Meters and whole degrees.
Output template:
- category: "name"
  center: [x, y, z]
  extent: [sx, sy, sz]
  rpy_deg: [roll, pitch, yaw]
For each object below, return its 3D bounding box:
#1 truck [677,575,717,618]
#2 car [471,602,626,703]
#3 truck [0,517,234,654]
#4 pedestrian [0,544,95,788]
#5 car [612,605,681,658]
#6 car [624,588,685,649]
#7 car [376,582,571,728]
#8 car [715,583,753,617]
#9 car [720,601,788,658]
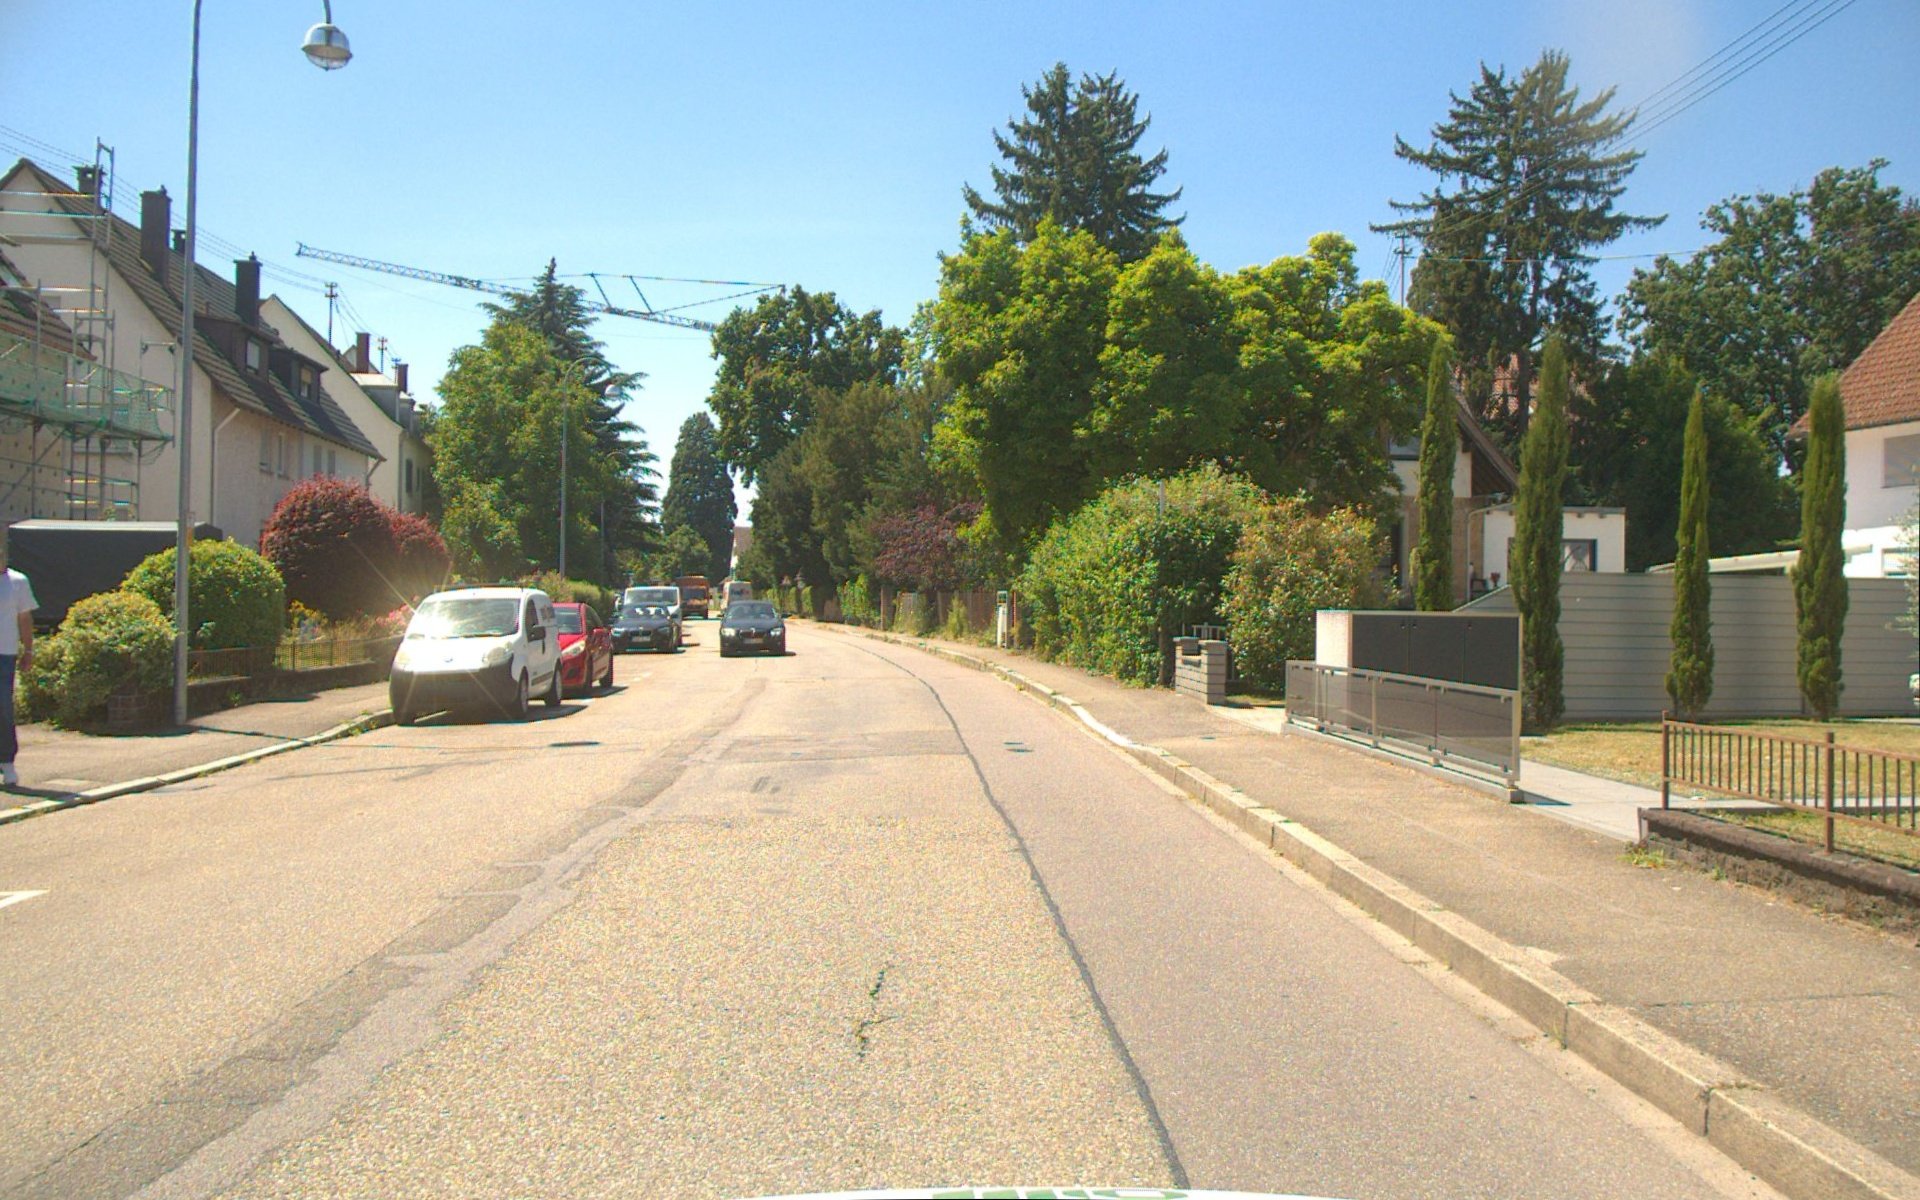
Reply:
- category: "truck"
  center: [-18.193, -0.235, 114.239]
  extent: [2.333, 2.879, 5.638]
  rpy_deg: [0, 0, -13]
- category: "car"
  center: [-6.779, 0.819, 27.651]
  extent: [1.725, 1.503, 4.055]
  rpy_deg: [-2, 0, -3]
- category: "truck"
  center: [-13.023, -0.205, 24.663]
  extent: [3.694, 1.972, 1.545]
  rpy_deg: [0, 0, -5]
- category: "pedestrian"
  center: [-7.827, 0.509, 13.605]
  extent: [0.675, 1.922, 1.019]
  rpy_deg: [5, -1, 2]
- category: "car"
  center: [-8.933, 0.869, 47.402]
  extent: [1.667, 1.408, 4.228]
  rpy_deg: [-2, 0, -8]
- category: "car"
  center: [-10.127, 0.597, 55.009]
  extent: [1.851, 1.914, 4.970]
  rpy_deg: [0, 0, -9]
- category: "car"
  center: [-6.543, 0.685, 22.639]
  extent: [1.689, 1.766, 3.884]
  rpy_deg: [-2, 0, -4]
- category: "car"
  center: [-16.501, -0.009, 120.487]
  extent: [2.108, 2.356, 4.833]
  rpy_deg: [-1, 0, -15]
- category: "car"
  center: [-5.502, 0.780, 44.528]
  extent: [1.698, 1.442, 3.994]
  rpy_deg: [-1, -1, -6]
